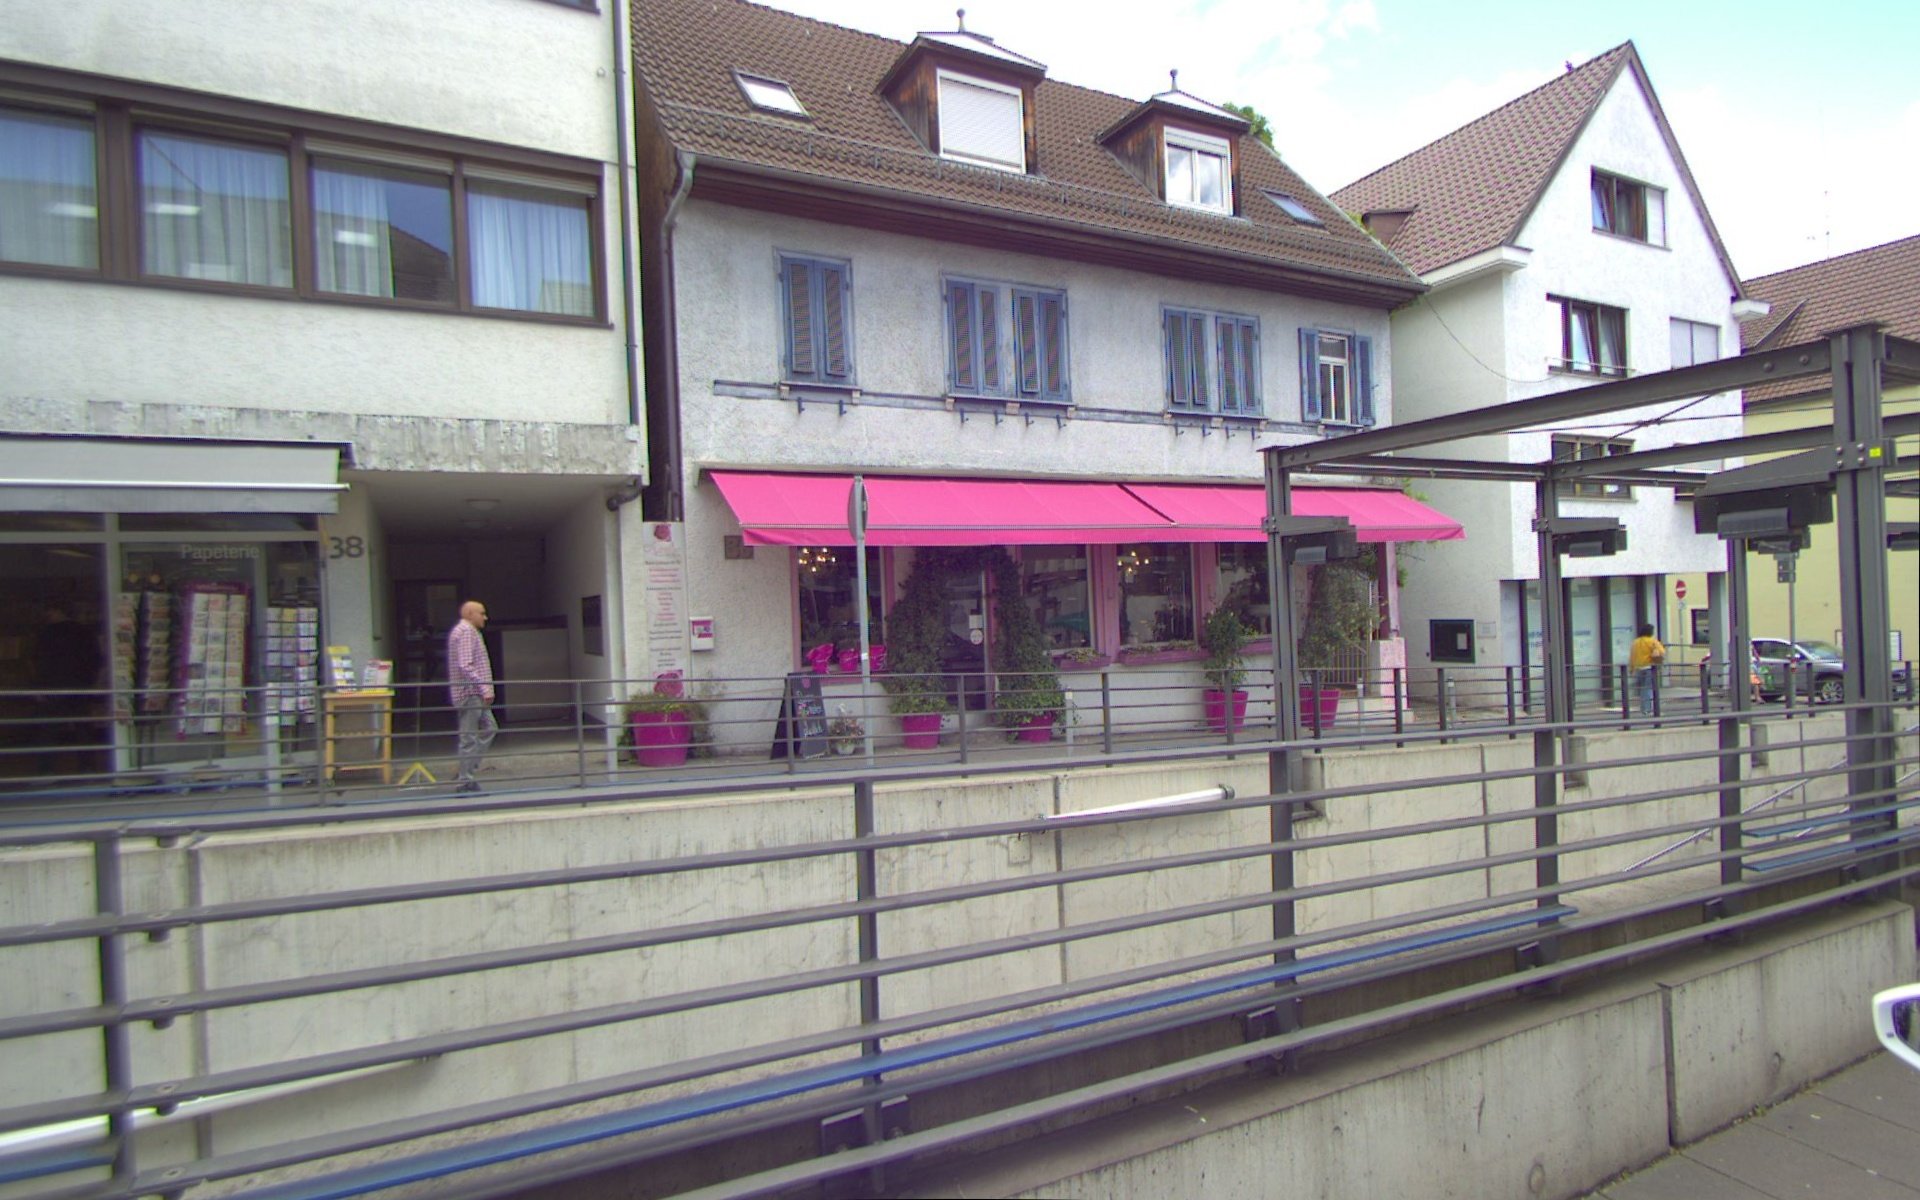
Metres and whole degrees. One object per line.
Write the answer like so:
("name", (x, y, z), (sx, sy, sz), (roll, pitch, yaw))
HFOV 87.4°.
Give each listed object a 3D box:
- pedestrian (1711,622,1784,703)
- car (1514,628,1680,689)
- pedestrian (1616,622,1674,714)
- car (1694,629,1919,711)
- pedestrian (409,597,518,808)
("pedestrian", (18.180, 1.422, 23.205), (0.971, 1.811, 0.917), (0, -2, -14))
("car", (21.588, 2.023, 34.242), (1.973, 1.829, 4.328), (-2, -3, -25))
("pedestrian", (13.436, 1.320, 19.714), (0.827, 1.761, 0.633), (1, -3, -33))
("car", (21.462, 1.704, 25.494), (1.935, 1.641, 4.348), (8, -2, -9))
("pedestrian", (-4.406, 0.876, 8.923), (0.814, 1.763, 0.691), (1, -2, -28))
